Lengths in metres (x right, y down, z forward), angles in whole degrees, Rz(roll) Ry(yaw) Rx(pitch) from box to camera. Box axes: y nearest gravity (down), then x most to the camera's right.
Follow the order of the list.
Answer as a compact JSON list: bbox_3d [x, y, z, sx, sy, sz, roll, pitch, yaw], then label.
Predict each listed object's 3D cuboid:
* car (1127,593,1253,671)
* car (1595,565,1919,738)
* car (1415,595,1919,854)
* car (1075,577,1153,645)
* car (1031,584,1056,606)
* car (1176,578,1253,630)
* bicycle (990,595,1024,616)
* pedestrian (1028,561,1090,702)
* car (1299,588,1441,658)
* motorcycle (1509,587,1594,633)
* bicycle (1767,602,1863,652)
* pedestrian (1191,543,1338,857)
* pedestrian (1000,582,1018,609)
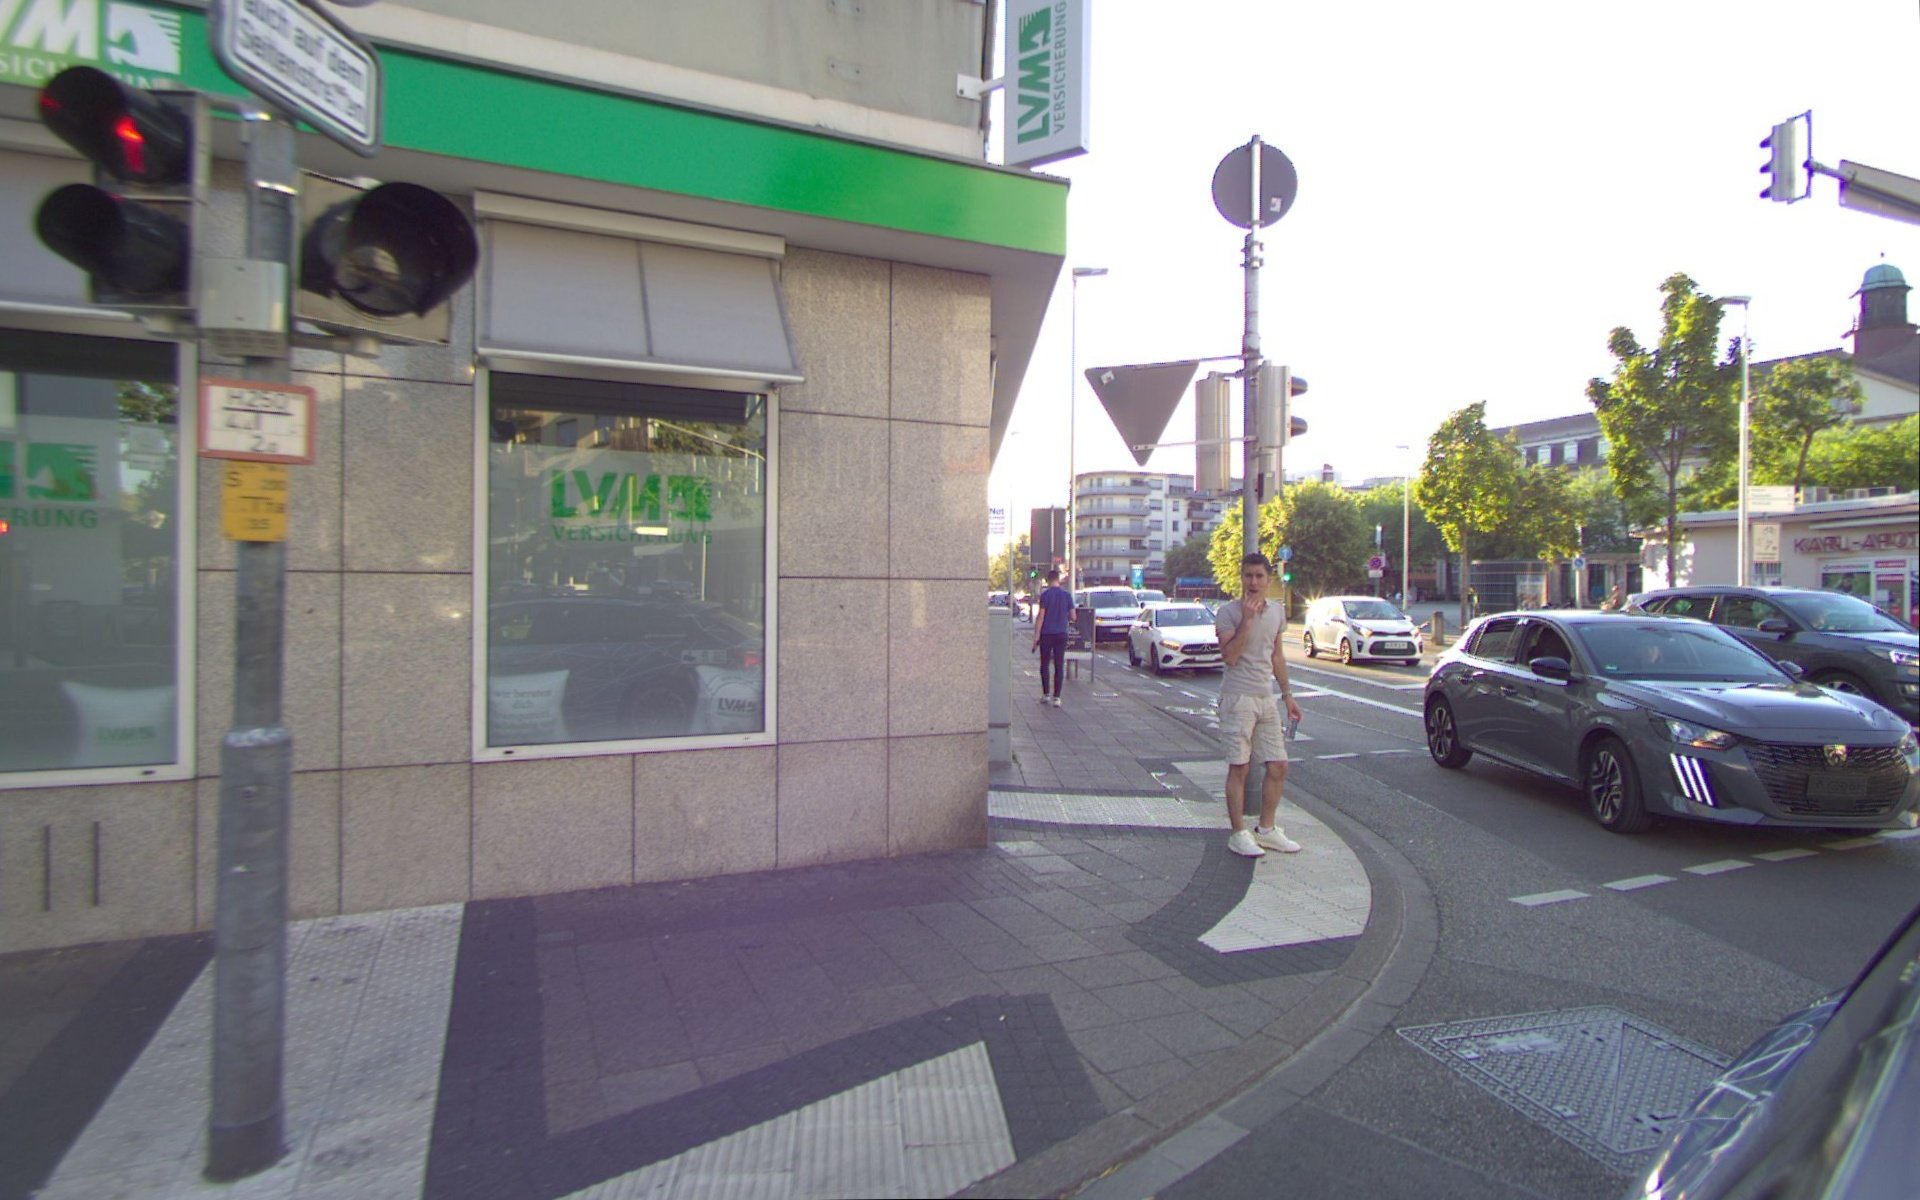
[{"bbox_3d":[4.921,0.620,22.203,1.794,1.490,3.985,-2,1,0],"label":"car"},{"bbox_3d":[10.048,0.488,12.030,1.790,1.719,4.267,0,1,-11],"label":"car"},{"bbox_3d":[5.181,0.708,7.736,1.720,1.461,3.903,-1,0,2],"label":"car"},{"bbox_3d":[4.722,0.295,31.504,1.794,1.953,3.985,2,1,0],"label":"car"},{"bbox_3d":[7.178,-0.451,87.005,1.846,1.794,3.999,0,1,1],"label":"car"},{"bbox_3d":[9.306,0.113,37.292,1.794,1.762,3.985,2,1,0],"label":"car"},{"bbox_3d":[2.410,0.281,51.576,1.678,1.070,0.560,0,0,12],"label":"bicycle"},{"bbox_3d":[1.332,0.411,13.743,0.679,1.850,0.881,1,0,-3],"label":"pedestrian"},{"bbox_3d":[9.342,0.467,23.402,1.687,1.490,3.984,0,1,0],"label":"car"},{"bbox_3d":[19.207,0.313,32.903,2.355,1.464,0.701,0,0,0],"label":"motorcycle"},{"bbox_3d":[20.079,0.627,23.781,1.837,1.128,0.449,0,1,1],"label":"bicycle"},{"bbox_3d":[1.793,0.560,6.037,0.641,1.764,0.694,0,0,-2],"label":"pedestrian"},{"bbox_3d":[2.490,-0.226,51.558,0.845,1.368,0.560,0,0,11],"label":"pedestrian"}]
